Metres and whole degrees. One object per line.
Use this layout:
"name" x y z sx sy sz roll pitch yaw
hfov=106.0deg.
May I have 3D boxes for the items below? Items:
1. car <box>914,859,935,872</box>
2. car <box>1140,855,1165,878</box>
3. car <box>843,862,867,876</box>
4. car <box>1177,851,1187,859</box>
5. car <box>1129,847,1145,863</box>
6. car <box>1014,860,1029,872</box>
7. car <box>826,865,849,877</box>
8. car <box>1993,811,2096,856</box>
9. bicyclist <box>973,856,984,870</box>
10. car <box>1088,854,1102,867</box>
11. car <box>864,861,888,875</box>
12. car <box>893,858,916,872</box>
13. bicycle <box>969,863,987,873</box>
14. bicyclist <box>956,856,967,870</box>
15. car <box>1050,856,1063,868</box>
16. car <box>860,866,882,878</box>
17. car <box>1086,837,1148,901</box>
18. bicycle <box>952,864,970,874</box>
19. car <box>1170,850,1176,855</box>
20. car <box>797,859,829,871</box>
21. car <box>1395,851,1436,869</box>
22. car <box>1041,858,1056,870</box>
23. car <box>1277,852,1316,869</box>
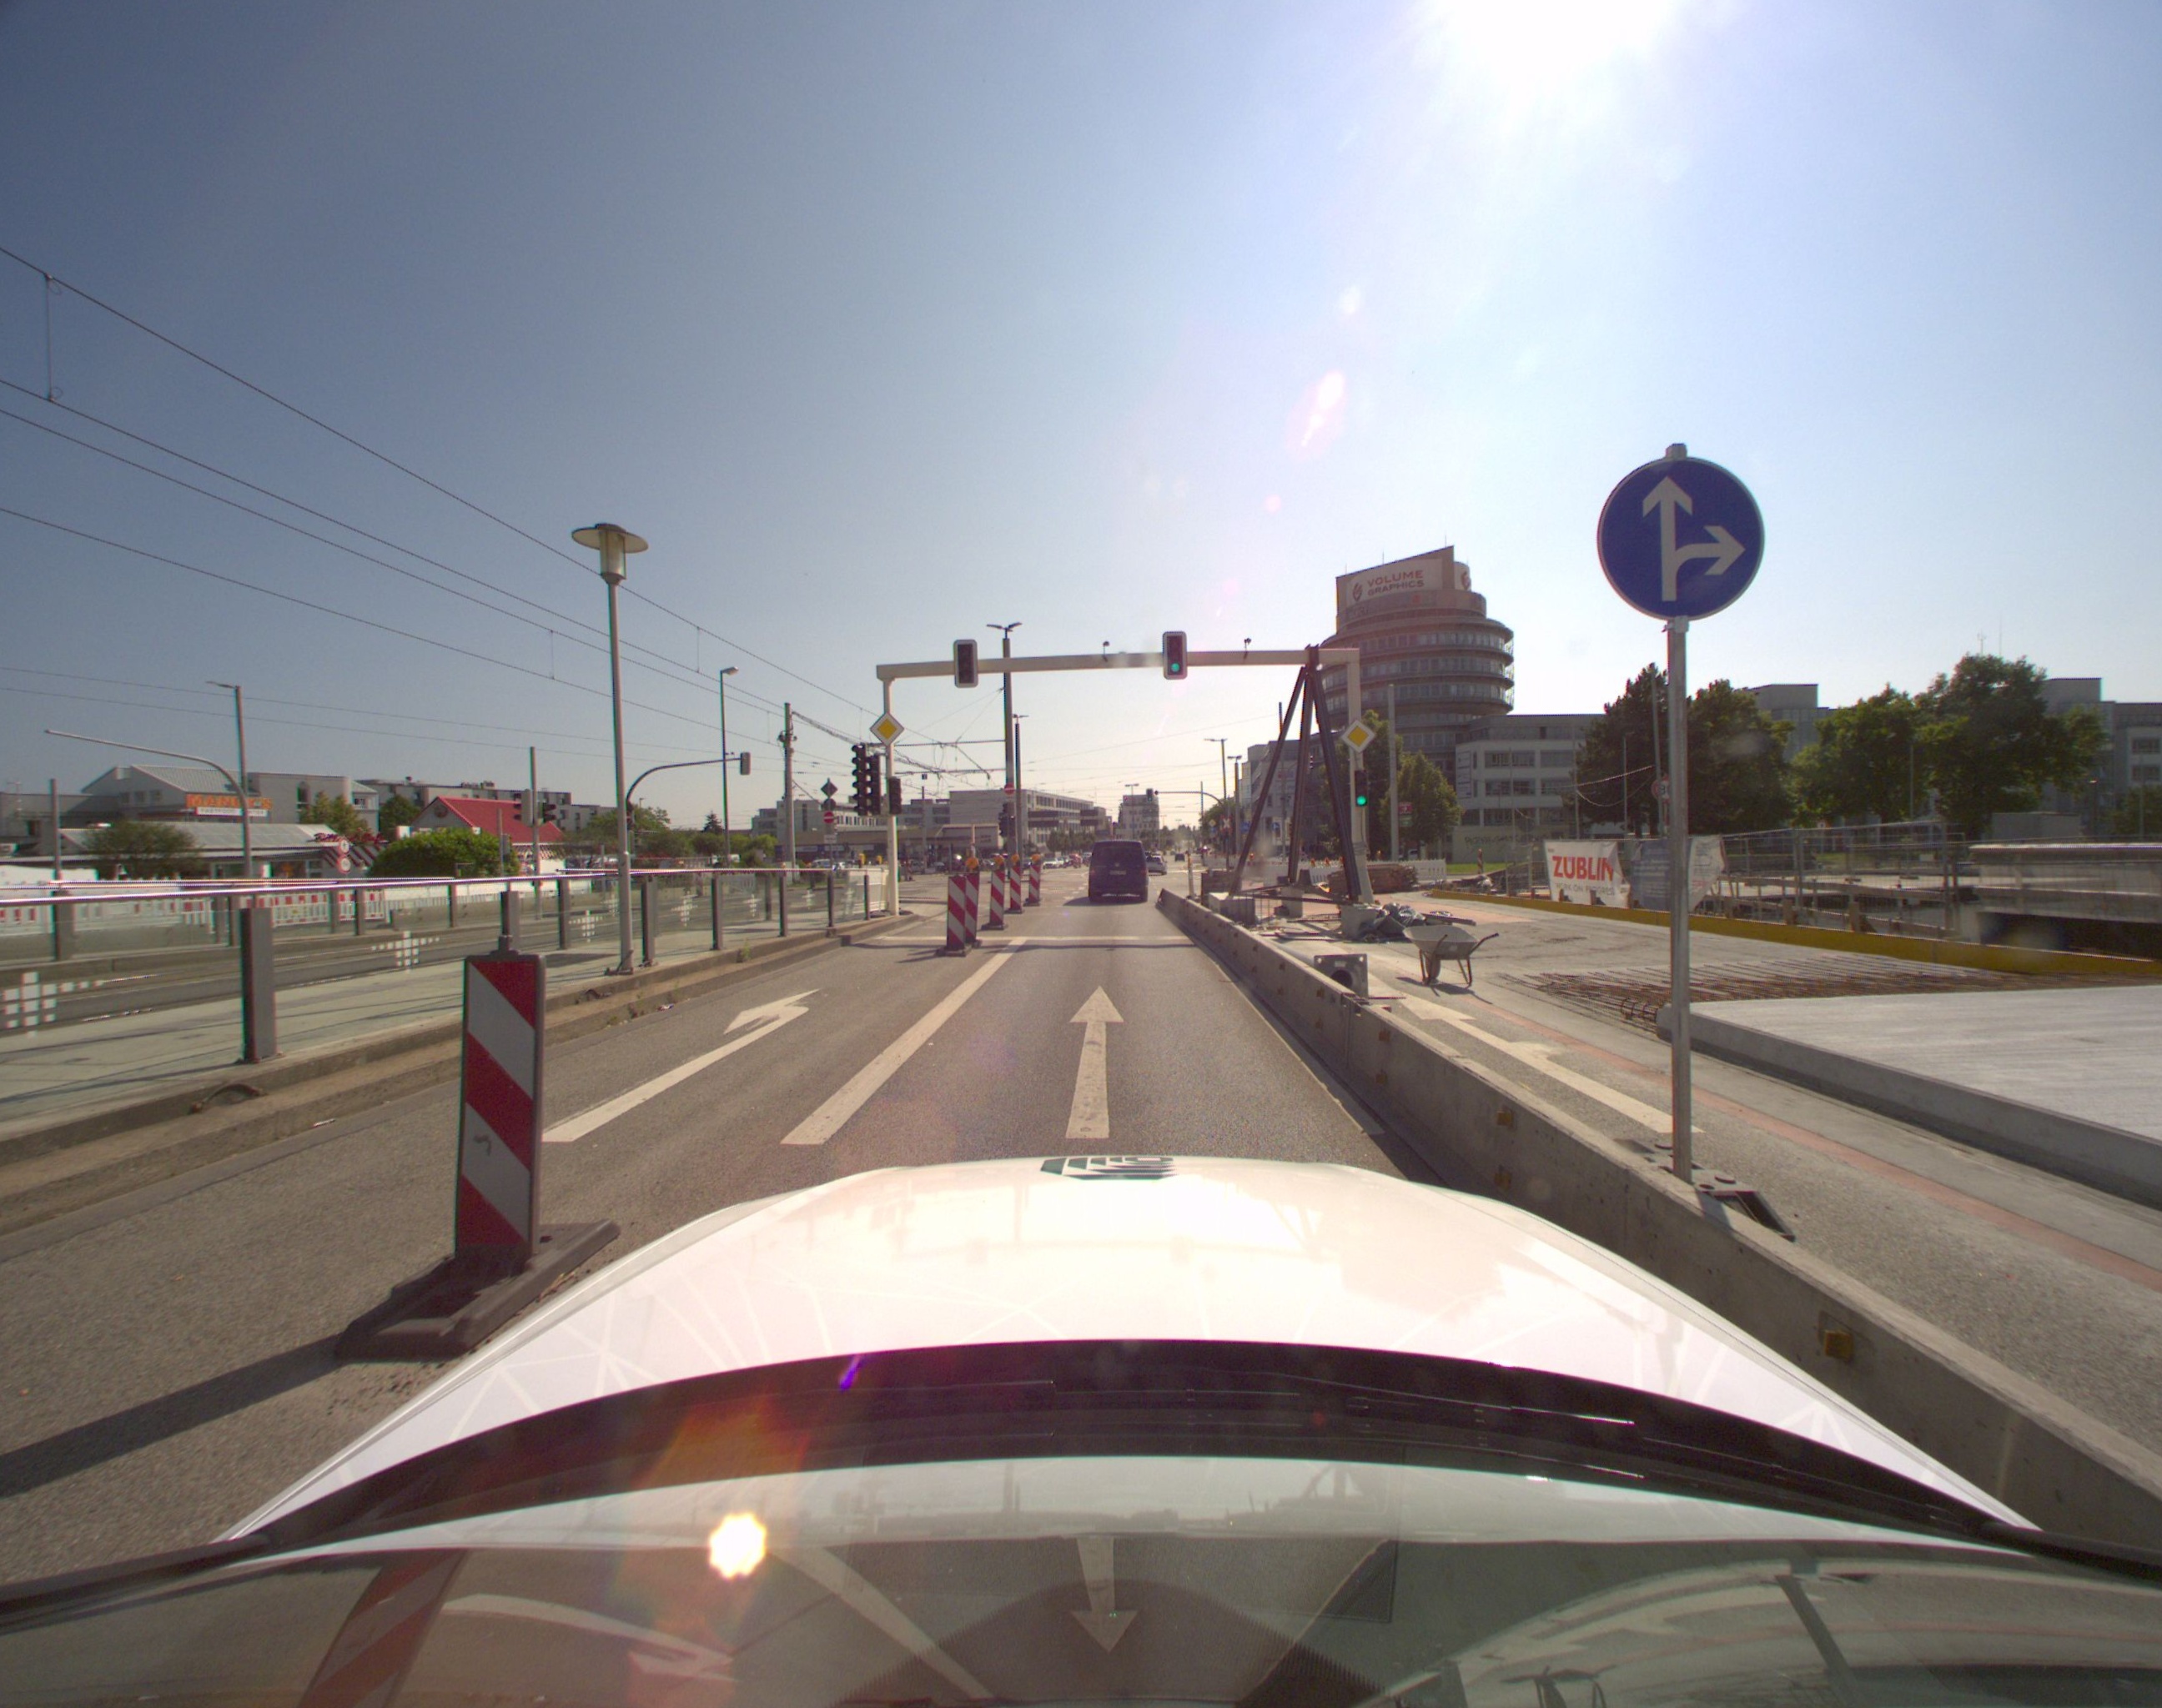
"car" -19.711 1.408 102.599 1.770 1.538 4.002 -1 0 2
"car" 5.460 0.925 62.534 1.677 1.606 3.619 0 1 2
"car" -28.298 1.877 102.098 1.770 1.538 4.002 -3 0 2
"car" 17.940 0.188 144.264 1.735 1.475 3.892 -1 0 7
"car" 6.207 0.072 90.412 1.638 1.727 4.004 0 1 3
"car" -7.947 1.577 109.296 1.742 1.486 3.999 -2 0 0
"car" -34.382 2.408 115.048 1.770 1.538 4.002 -3 0 2
"car" 64.085 -1.365 54.172 5.966 2.886 2.333 0 1 -18
"bicyclist" -11.945 1.003 94.803 0.869 1.578 0.973 3 0 16
"car" 1.783 0.867 106.696 1.742 1.530 3.999 -2 0 0
"car" -25.299 1.727 100.692 1.770 1.538 4.002 -3 0 2
"car" -22.006 1.389 101.461 1.770 1.538 4.002 -3 0 2
"bicycle" -11.974 1.661 94.786 0.874 1.069 2.819 3 0 16
"bicyclist" -13.663 1.055 92.912 0.869 1.578 0.973 3 0 16
"car" -3.443 1.124 115.346 1.742 1.486 3.999 -2 0 0
"car" -29.776 2.525 115.511 1.770 1.538 4.002 -3 0 2
"car" 1.225 0.410 26.809 1.880 1.934 4.004 0 1 3
"bicycle" -13.664 1.708 93.015 0.874 1.069 2.819 3 0 16
"car" 27.527 -0.404 242.936 1.543 1.340 3.015 0 0 0
"car" -38.930 1.636 118.494 4.022 1.538 1.762 -3 0 -41
"car" 35.983 0.647 87.710 3.799 1.797 1.682 0 1 1
"car" -4.303 1.281 108.947 1.742 1.481 3.999 -2 0 0
"car" 23.185 0.667 87.757 3.799 1.797 1.682 0 1 1
